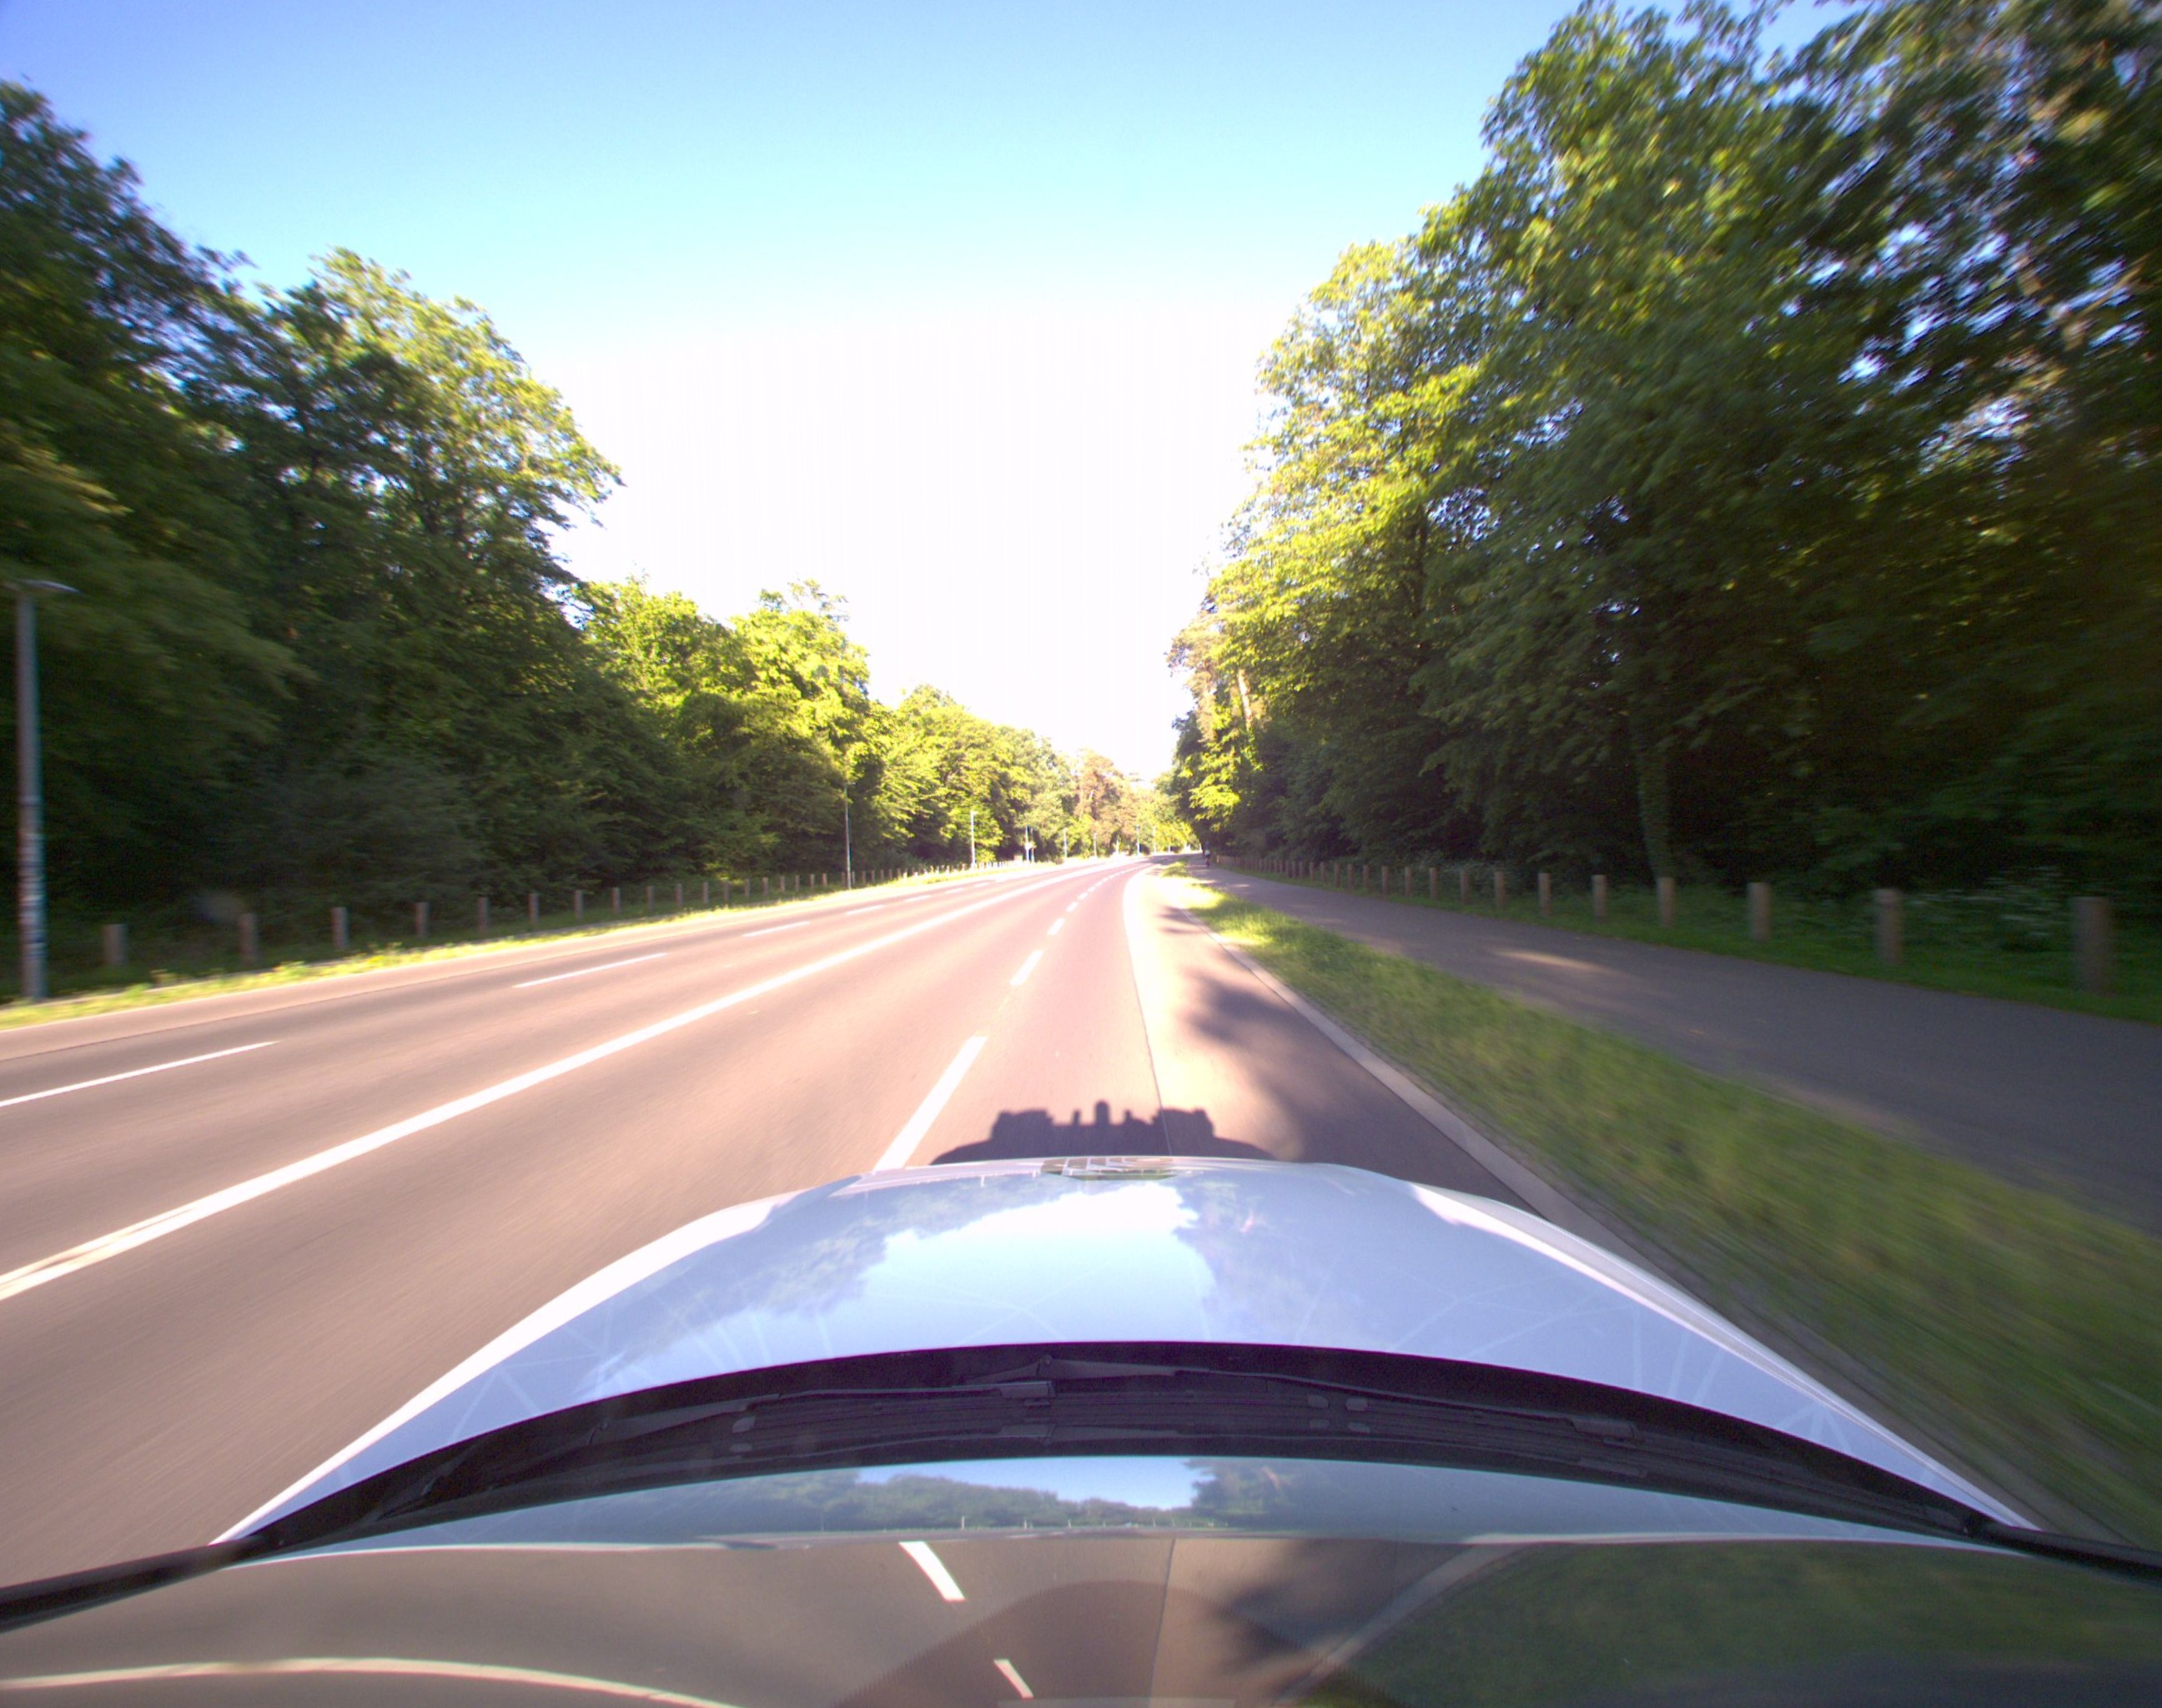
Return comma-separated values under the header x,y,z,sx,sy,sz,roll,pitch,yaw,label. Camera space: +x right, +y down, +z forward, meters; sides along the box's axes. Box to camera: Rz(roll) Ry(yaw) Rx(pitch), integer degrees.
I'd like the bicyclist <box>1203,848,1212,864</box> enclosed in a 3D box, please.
x,y,z,sx,sy,sz,roll,pitch,yaw,label
10.660,0.136,68.454,0.708,1.288,1.107,-2,0,8,bicyclist

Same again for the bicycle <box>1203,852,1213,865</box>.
x,y,z,sx,sy,sz,roll,pitch,yaw,label
10.651,0.382,68.358,0.708,1.056,2.057,-2,0,8,bicycle
